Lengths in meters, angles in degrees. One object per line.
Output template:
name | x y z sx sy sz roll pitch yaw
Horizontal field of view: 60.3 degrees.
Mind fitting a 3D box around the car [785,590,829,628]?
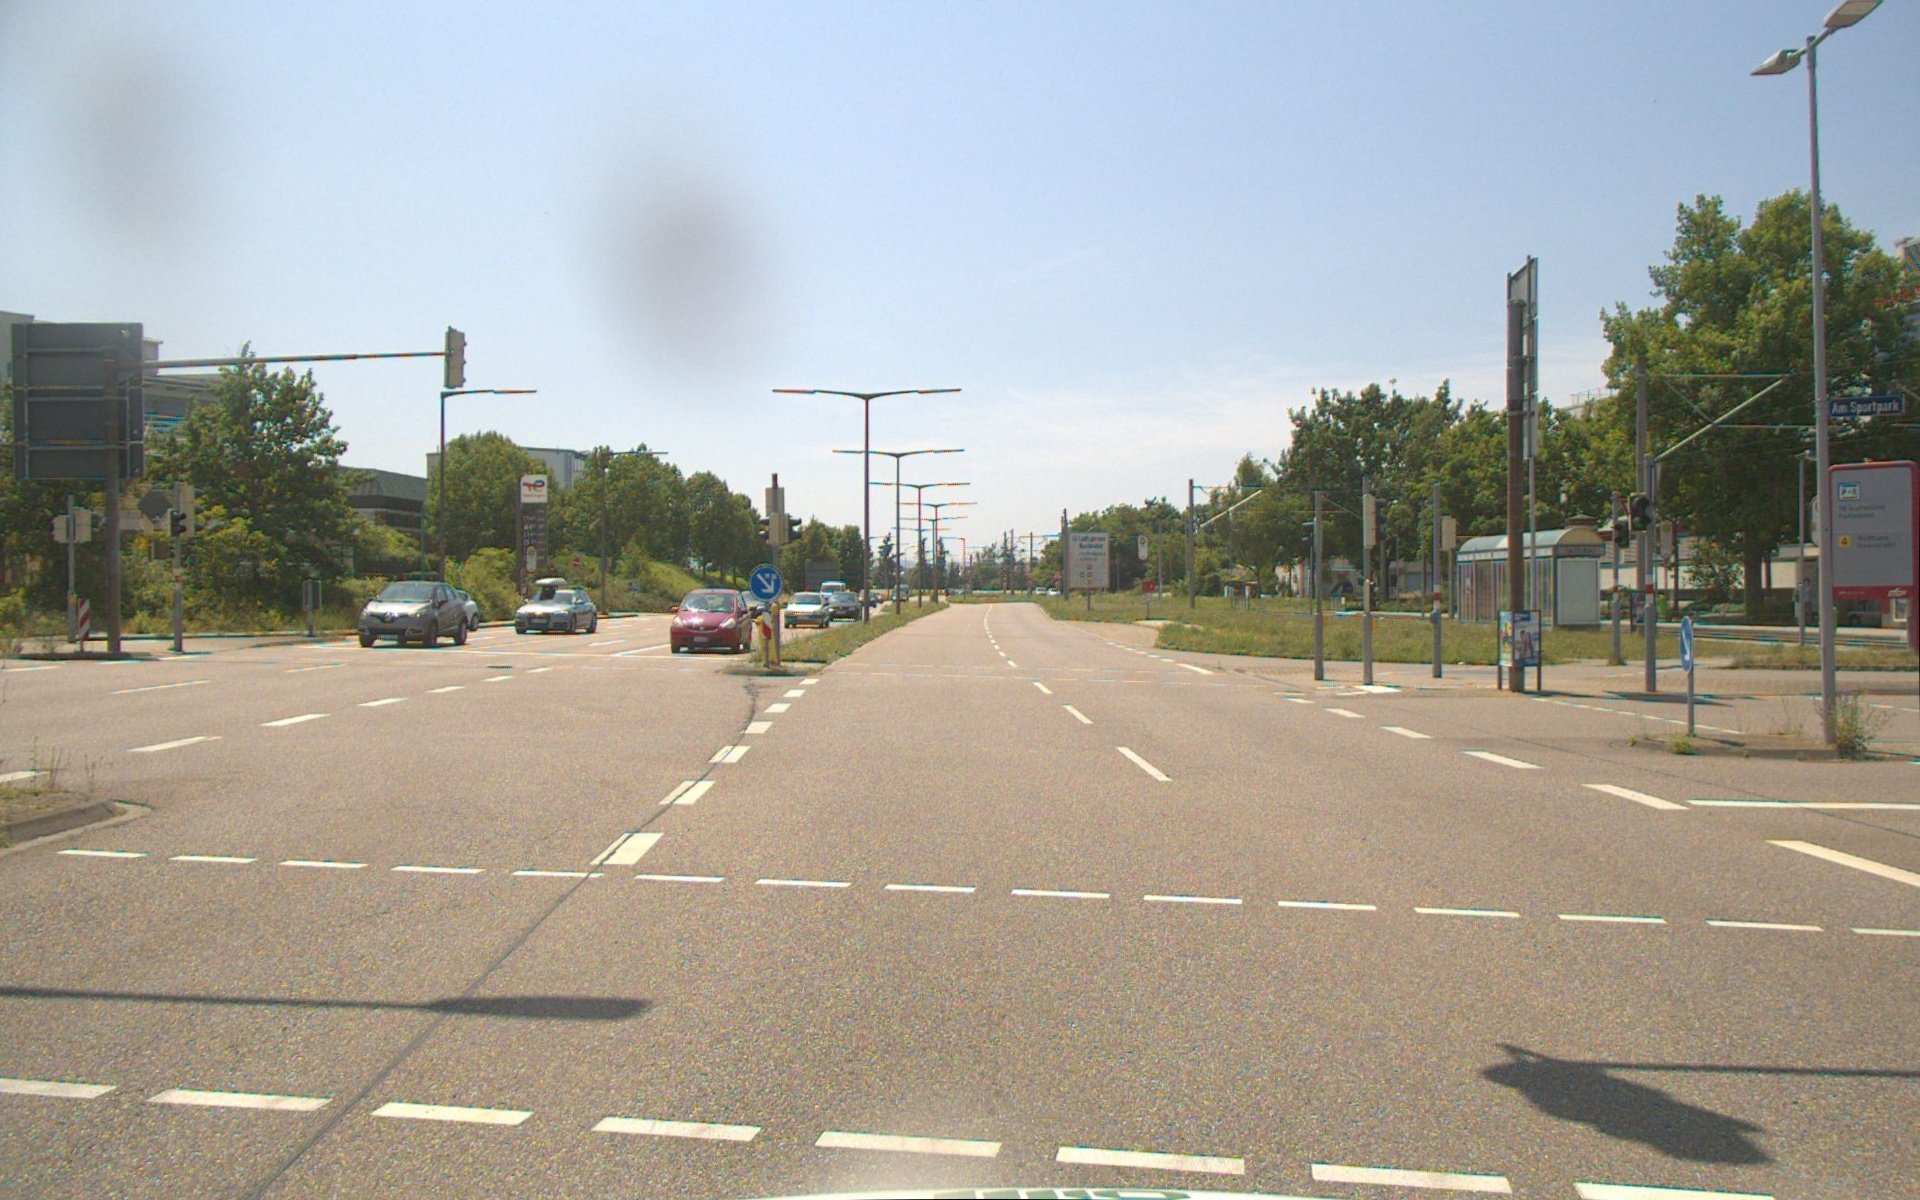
car | -6.195 0.346 67.391 1.529 1.448 3.853 0 1 -2

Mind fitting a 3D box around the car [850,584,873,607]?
car | -8.915 -0.375 149.349 1.954 2.049 3.997 1 0 -4

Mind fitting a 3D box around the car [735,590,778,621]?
car | -9.746 0.262 79.418 1.604 1.454 4.051 0 0 0

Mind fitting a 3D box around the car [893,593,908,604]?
car | -7.804 -0.229 217.833 1.695 1.483 4.565 0 0 2

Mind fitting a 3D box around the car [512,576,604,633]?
car | -13.221 0.128 54.649 1.925 1.780 5.020 0 0 -2

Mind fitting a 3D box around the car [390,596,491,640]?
car | -17.686 0.600 56.435 1.784 1.475 3.831 0 0 8

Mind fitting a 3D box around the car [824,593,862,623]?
car | -5.791 0.384 82.315 1.642 1.459 4.190 0 0 -1

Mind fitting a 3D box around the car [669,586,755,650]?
car | -6.088 0.408 40.977 1.625 1.516 3.999 0 0 -2

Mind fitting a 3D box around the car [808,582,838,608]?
car | -12.586 -0.491 152.110 2.203 2.313 5.449 1 0 1

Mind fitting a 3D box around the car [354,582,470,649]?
car | -13.544 0.348 41.089 1.625 1.566 3.999 -1 0 -2

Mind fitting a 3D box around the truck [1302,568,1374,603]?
truck | 33.839 -1.297 148.135 5.730 2.893 2.316 -2 0 -8
